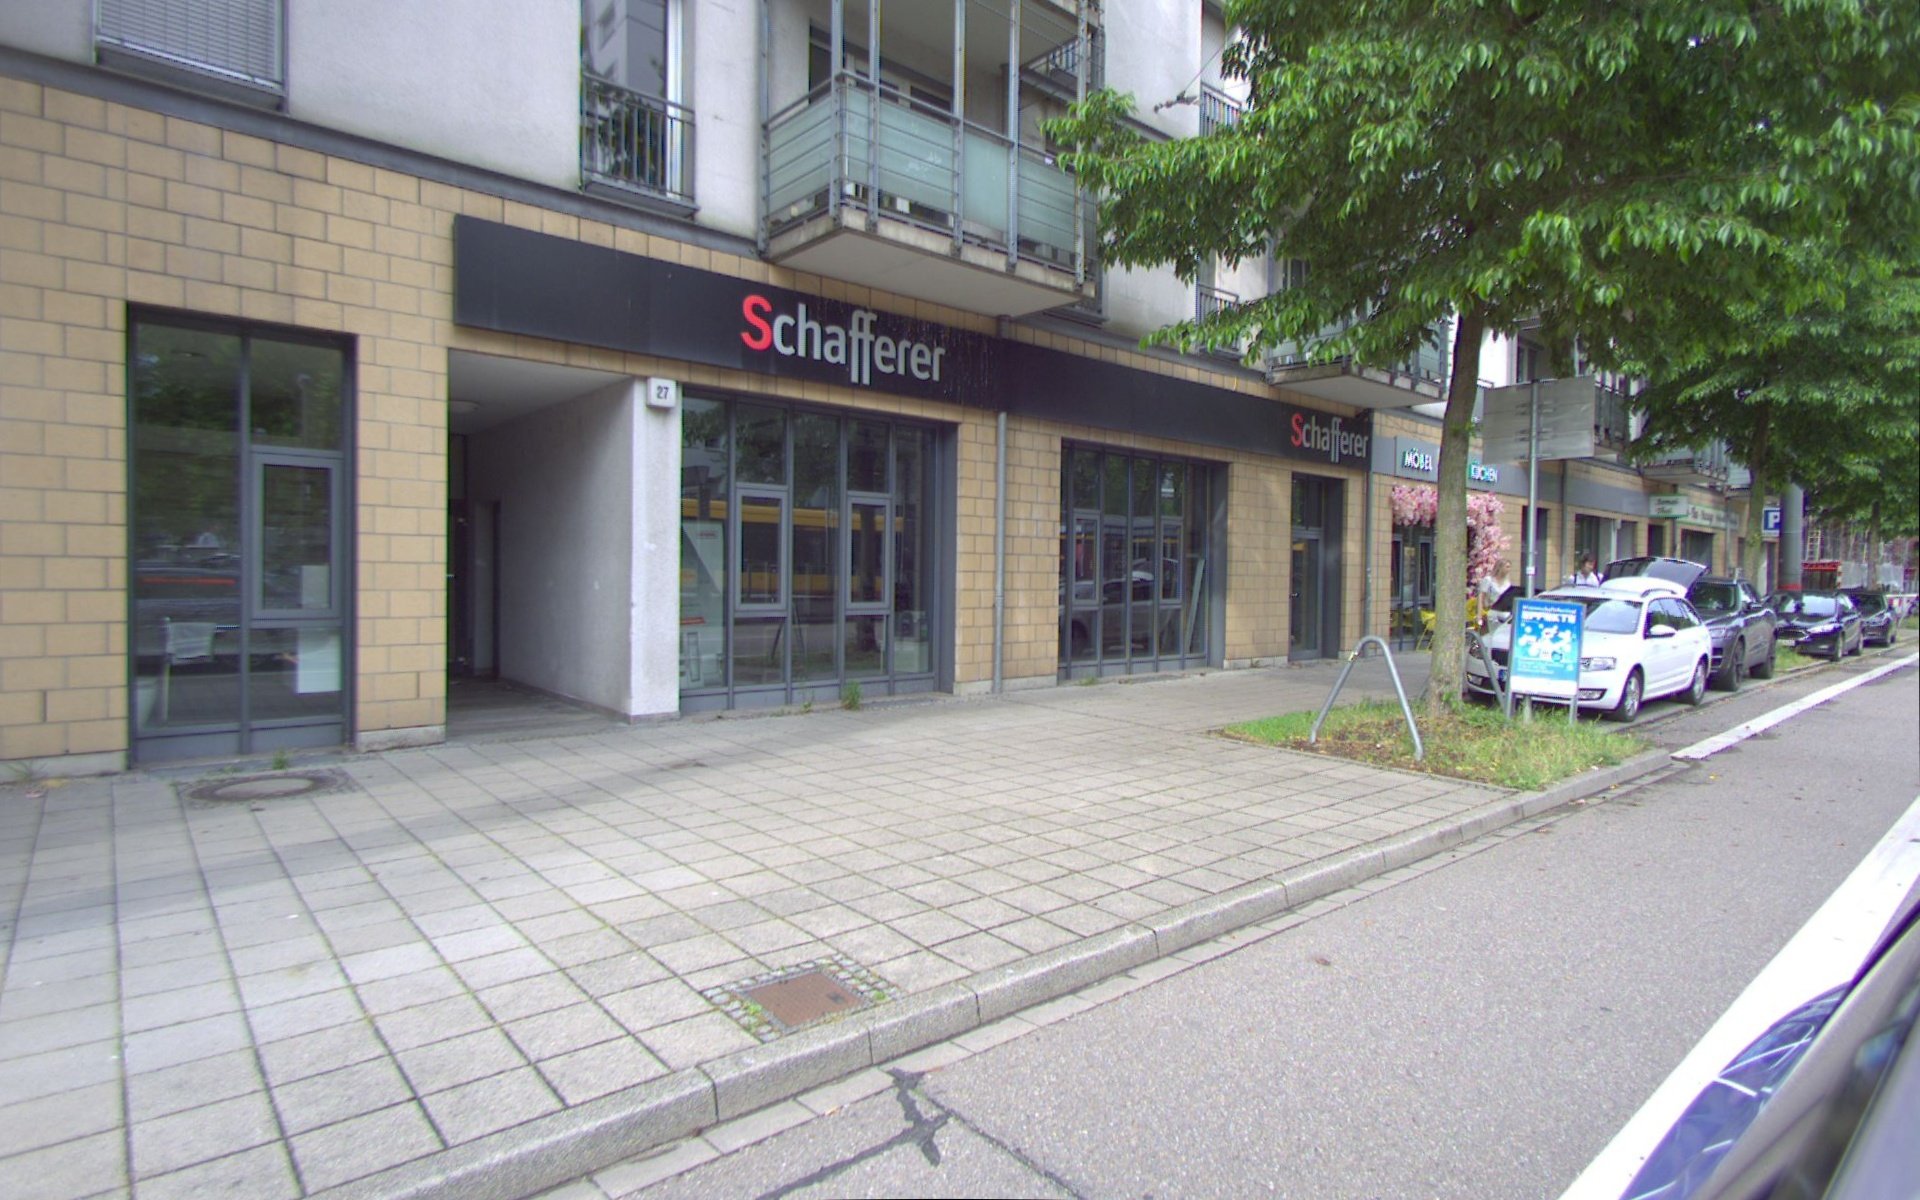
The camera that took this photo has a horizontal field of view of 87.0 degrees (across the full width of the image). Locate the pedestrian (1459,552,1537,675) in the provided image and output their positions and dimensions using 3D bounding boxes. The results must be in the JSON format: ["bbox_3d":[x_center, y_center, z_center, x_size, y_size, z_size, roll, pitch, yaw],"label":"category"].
[{"bbox_3d":[7.897,0.180,14.871,0.605,1.738,0.739,0,2,-28],"label":"pedestrian"}]

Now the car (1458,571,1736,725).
[{"bbox_3d":[8.125,0.473,12.761,4.233,1.539,1.738,-1,5,-41],"label":"car"}]

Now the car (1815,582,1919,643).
[{"bbox_3d":[24.158,0.286,26.877,3.603,1.417,1.612,-1,5,-41],"label":"car"}]

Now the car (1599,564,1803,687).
[{"bbox_3d":[11.797,0.317,16.035,3.732,1.630,1.738,-1,5,-41],"label":"car"}]

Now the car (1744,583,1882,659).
[{"bbox_3d":[18.637,0.385,22.051,4.095,1.394,1.612,-1,5,-41],"label":"car"}]

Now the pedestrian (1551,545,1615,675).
[{"bbox_3d":[9.354,0.136,15.203,0.588,1.907,0.656,0,1,-41],"label":"pedestrian"}]
